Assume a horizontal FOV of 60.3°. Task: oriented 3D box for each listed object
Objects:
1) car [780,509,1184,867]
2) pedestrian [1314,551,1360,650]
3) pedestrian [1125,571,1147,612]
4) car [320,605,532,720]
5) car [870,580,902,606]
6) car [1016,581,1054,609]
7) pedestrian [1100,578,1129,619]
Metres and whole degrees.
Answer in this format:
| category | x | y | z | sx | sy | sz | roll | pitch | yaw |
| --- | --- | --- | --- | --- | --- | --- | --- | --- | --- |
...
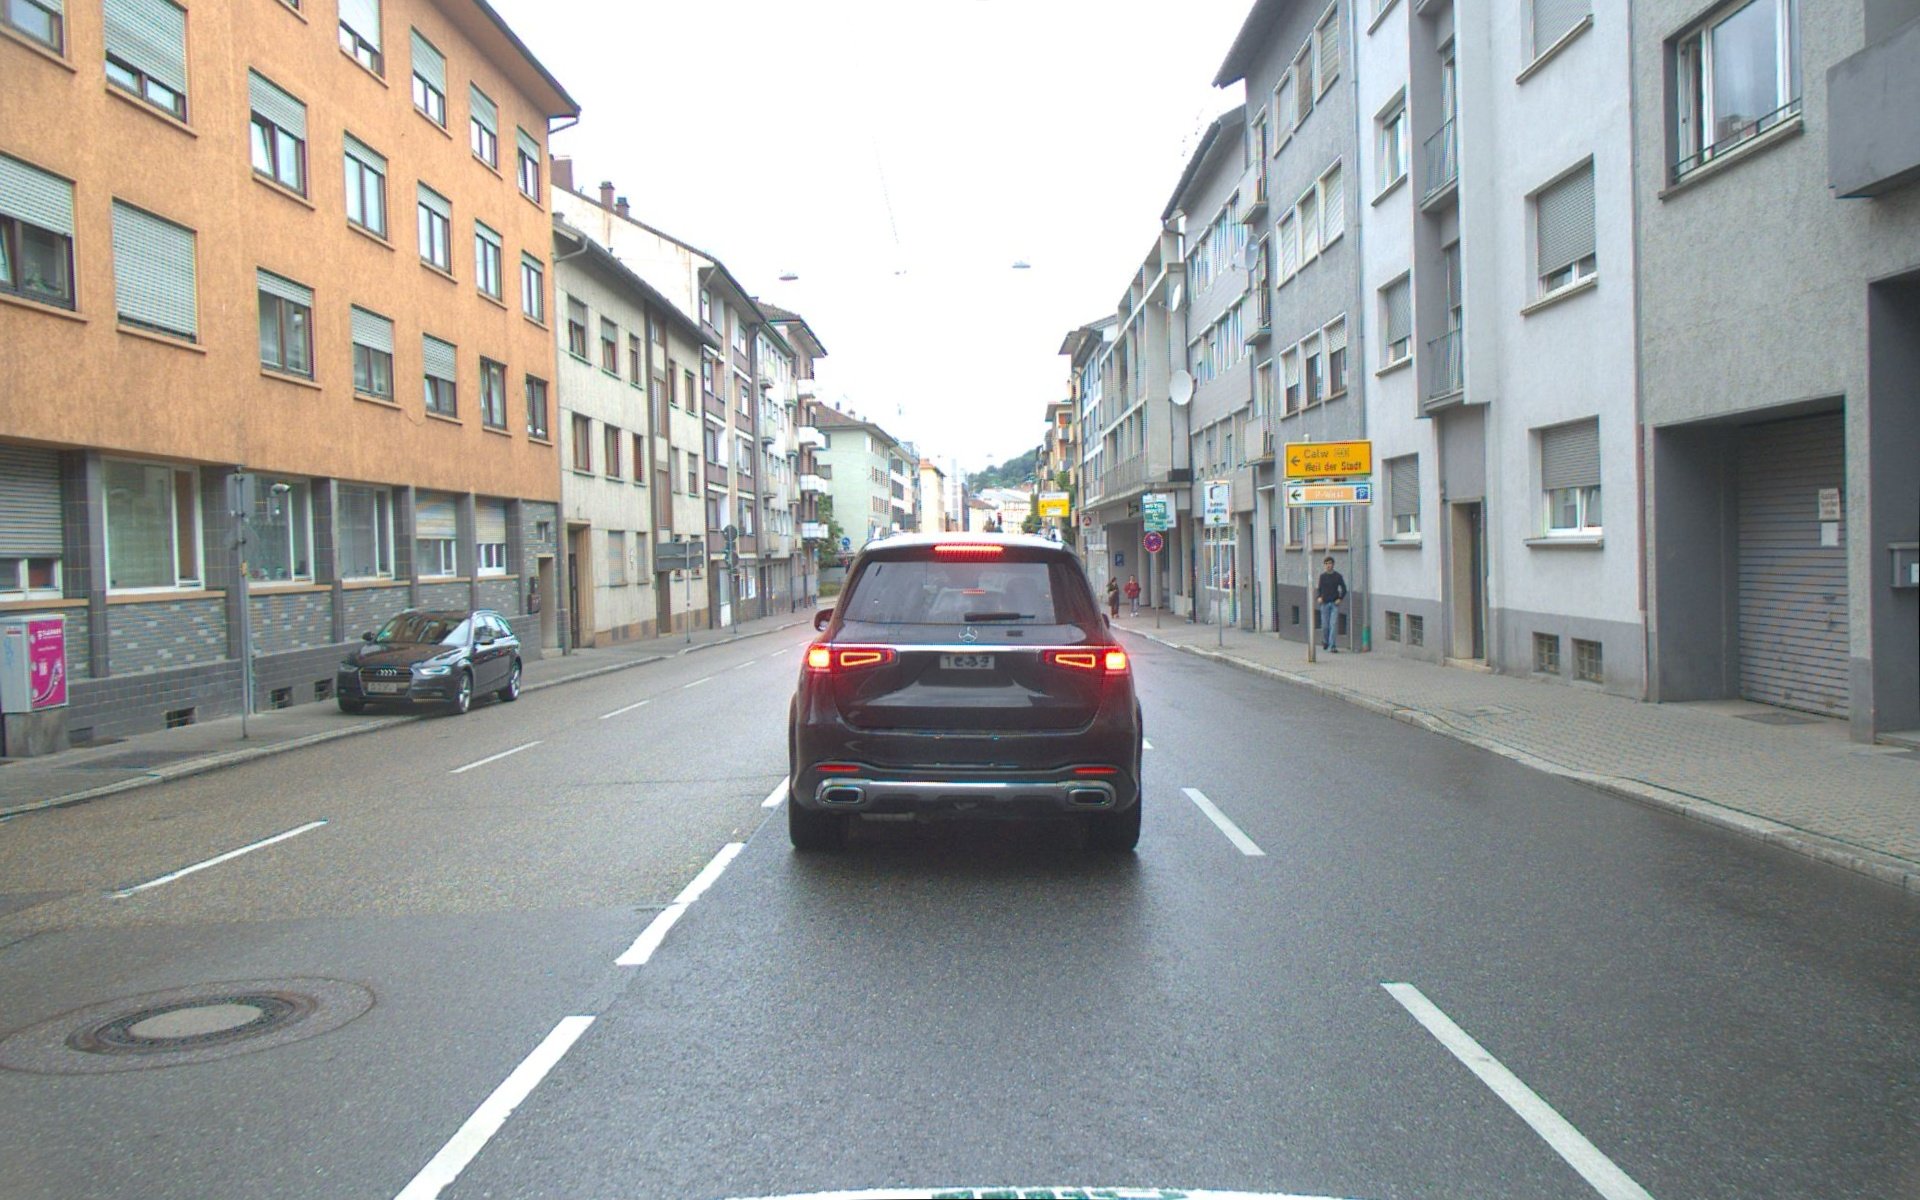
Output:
| category | x | y | z | sx | sy | sz | roll | pitch | yaw |
| --- | --- | --- | --- | --- | --- | --- | --- | --- | --- |
| car | 0.082 | 0.388 | 10.670 | 2.034 | 1.796 | 4.611 | 0 | 1 | -1 |
| pedestrian | 7.035 | 0.008 | 30.900 | 0.642 | 1.782 | 0.742 | -4 | 1 | 5 |
| pedestrian | 6.909 | -0.353 | 64.873 | 0.803 | 1.592 | 0.900 | 0 | 1 | 3 |
| car | -8.008 | 0.874 | 25.259 | 1.853 | 1.484 | 4.548 | 0 | 1 | -1 |
| car | -4.573 | -0.449 | 102.883 | 1.853 | 1.484 | 4.548 | 0 | 1 | -1 |
| car | 3.951 | -0.289 | 87.600 | 1.699 | 1.412 | 4.582 | 0 | 1 | -1 |
| pedestrian | 6.068 | -0.082 | 64.912 | 0.809 | 1.592 | 0.894 | -1 | 1 | -22 |
